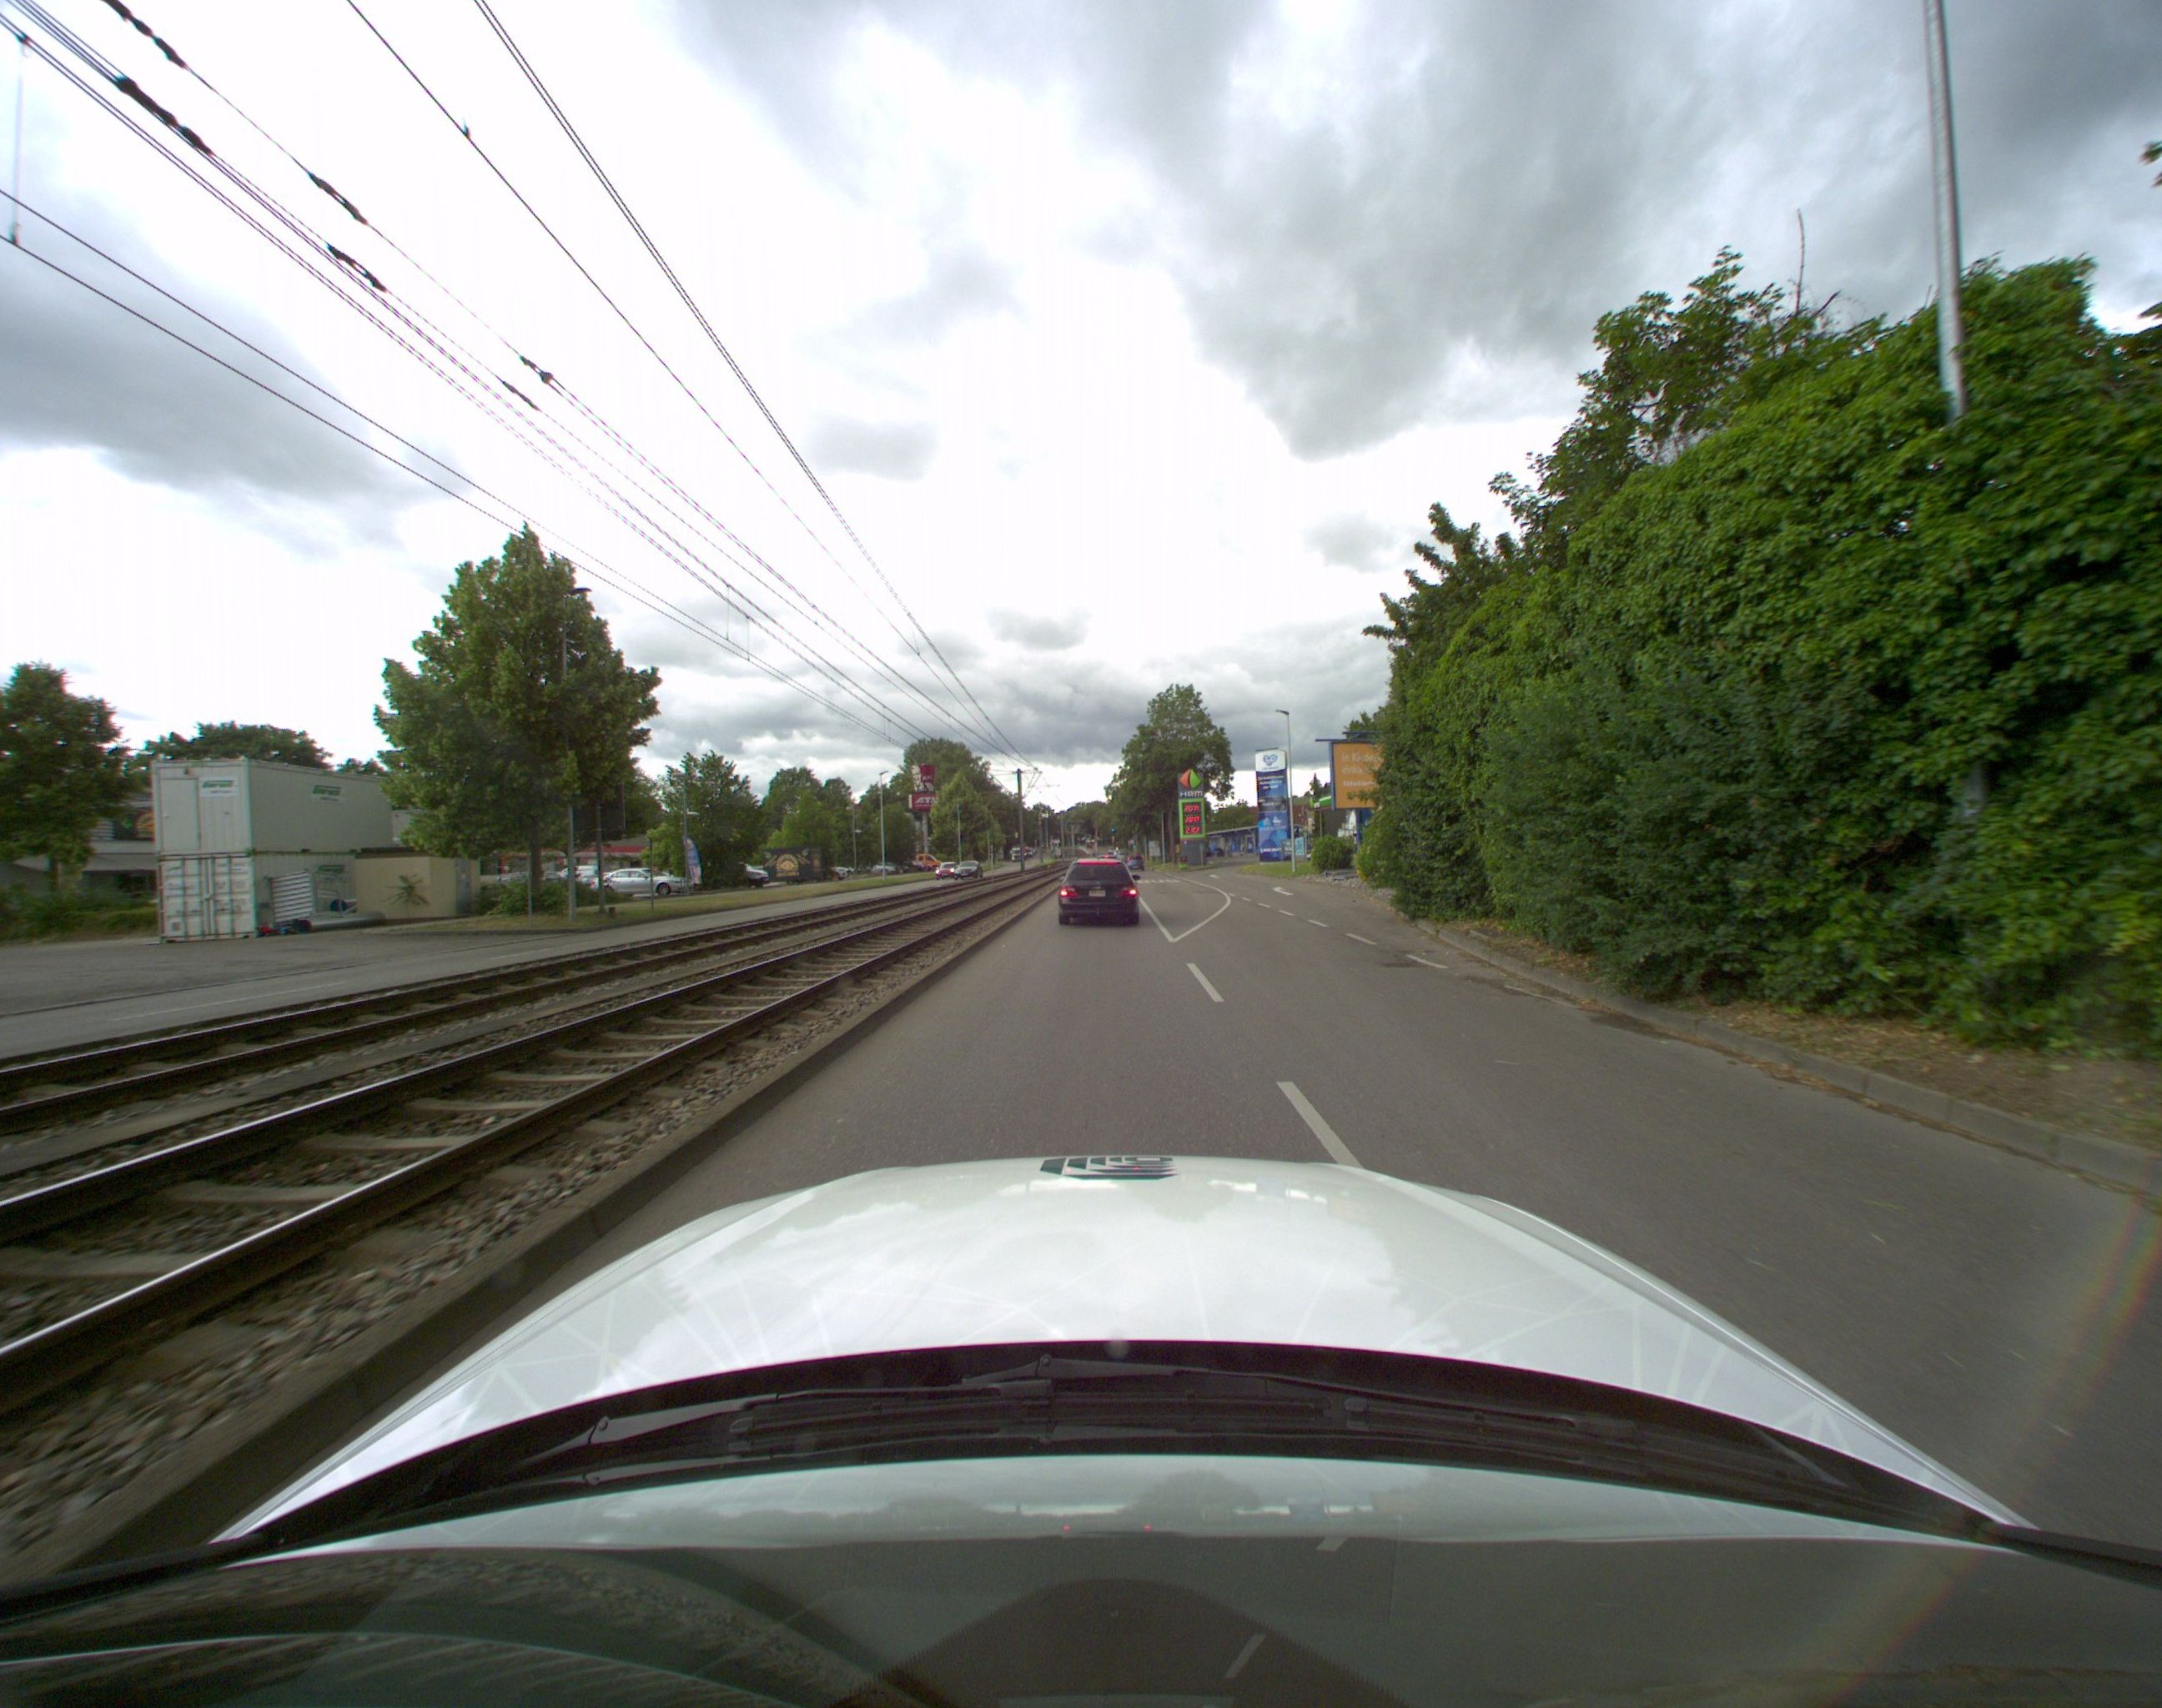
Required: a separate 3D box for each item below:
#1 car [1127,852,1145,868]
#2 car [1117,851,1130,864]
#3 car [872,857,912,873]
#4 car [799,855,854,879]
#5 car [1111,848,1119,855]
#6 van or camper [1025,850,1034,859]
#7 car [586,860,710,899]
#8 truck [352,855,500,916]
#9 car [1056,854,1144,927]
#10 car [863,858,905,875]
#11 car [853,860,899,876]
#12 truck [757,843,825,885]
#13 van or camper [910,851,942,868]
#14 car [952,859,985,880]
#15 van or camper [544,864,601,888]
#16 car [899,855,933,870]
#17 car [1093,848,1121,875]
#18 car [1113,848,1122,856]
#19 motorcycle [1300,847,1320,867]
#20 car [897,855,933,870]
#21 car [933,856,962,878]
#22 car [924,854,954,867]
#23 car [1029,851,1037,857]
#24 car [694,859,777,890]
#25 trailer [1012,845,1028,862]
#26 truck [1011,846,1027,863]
[{"bbox_3d":[5.049,0.554,75.431,1.565,1.414,3.355,0,0,2],"label":"car"},{"bbox_3d":[4.731,0.358,90.868,1.460,1.414,3.355,0,0,2],"label":"car"},{"bbox_3d":[-21.199,1.244,91.419,3.978,1.599,1.876,-3,0,-3],"label":"car"},{"bbox_3d":[-21.587,1.112,69.149,3.978,1.797,1.876,-3,0,-3],"label":"car"},{"bbox_3d":[8.910,-0.667,215.725,1.986,1.838,4.001,-1,0,1],"label":"car"},{"bbox_3d":[-13.751,0.108,218.357,1.987,2.354,5.764,-3,0,0],"label":"van or camper"},{"bbox_3d":[-21.826,1.268,41.240,4.763,1.628,2.653,-3,1,2],"label":"car"},{"bbox_3d":[-28.389,1.280,35.607,1.986,2.382,5.266,-3,0,2],"label":"truck"},{"bbox_3d":[0.451,0.755,18.919,1.802,1.474,3.882,-1,0,2],"label":"car"},{"bbox_3d":[-20.920,1.325,86.742,3.978,1.635,1.876,-3,0,-3],"label":"car"},{"bbox_3d":[-21.056,1.393,83.786,4.294,1.472,1.680,-2,0,-1],"label":"car"},{"bbox_3d":[-21.215,0.691,59.688,3.976,2.821,2.375,-3,0,-1],"label":"truck"},{"bbox_3d":[-20.689,0.724,109.012,3.978,2.135,1.876,-1,0,-3],"label":"van or camper"},{"bbox_3d":[-8.730,1.173,63.349,1.753,1.401,4.444,-5,0,1],"label":"car"},{"bbox_3d":[-49.401,2.136,79.130,4.252,2.145,1.819,-3,0,-4],"label":"van or camper"},{"bbox_3d":[-21.080,1.126,103.905,3.978,1.797,1.876,-1,0,-3],"label":"car"},{"bbox_3d":[1.727,0.511,54.279,1.774,1.750,3.719,0,0,2],"label":"car"},{"bbox_3d":[8.733,-0.414,194.587,1.986,1.714,4.001,-3,0,1],"label":"car"},{"bbox_3d":[15.960,0.196,56.771,0.852,1.331,1.991,-3,0,2],"label":"motorcycle"},{"bbox_3d":[-20.146,1.072,98.765,3.978,1.599,1.876,-3,0,-3],"label":"car"},{"bbox_3d":[-11.627,1.126,71.146,1.786,1.772,3.999,-2,0,0],"label":"car"},{"bbox_3d":[-20.485,0.899,117.816,3.978,1.599,1.794,-3,0,-3],"label":"car"},{"bbox_3d":[-14.297,-0.061,242.549,1.758,1.647,3.772,-1,0,2],"label":"car"},{"bbox_3d":[-21.465,1.253,50.650,4.207,1.727,1.995,-3,0,-1],"label":"car"},{"bbox_3d":[-14.108,-0.028,189.340,2.697,3.660,13.290,-3,0,-1],"label":"trailer"},{"bbox_3d":[-14.002,0.047,184.494,2.699,3.663,11.106,-3,0,-1],"label":"truck"}]
